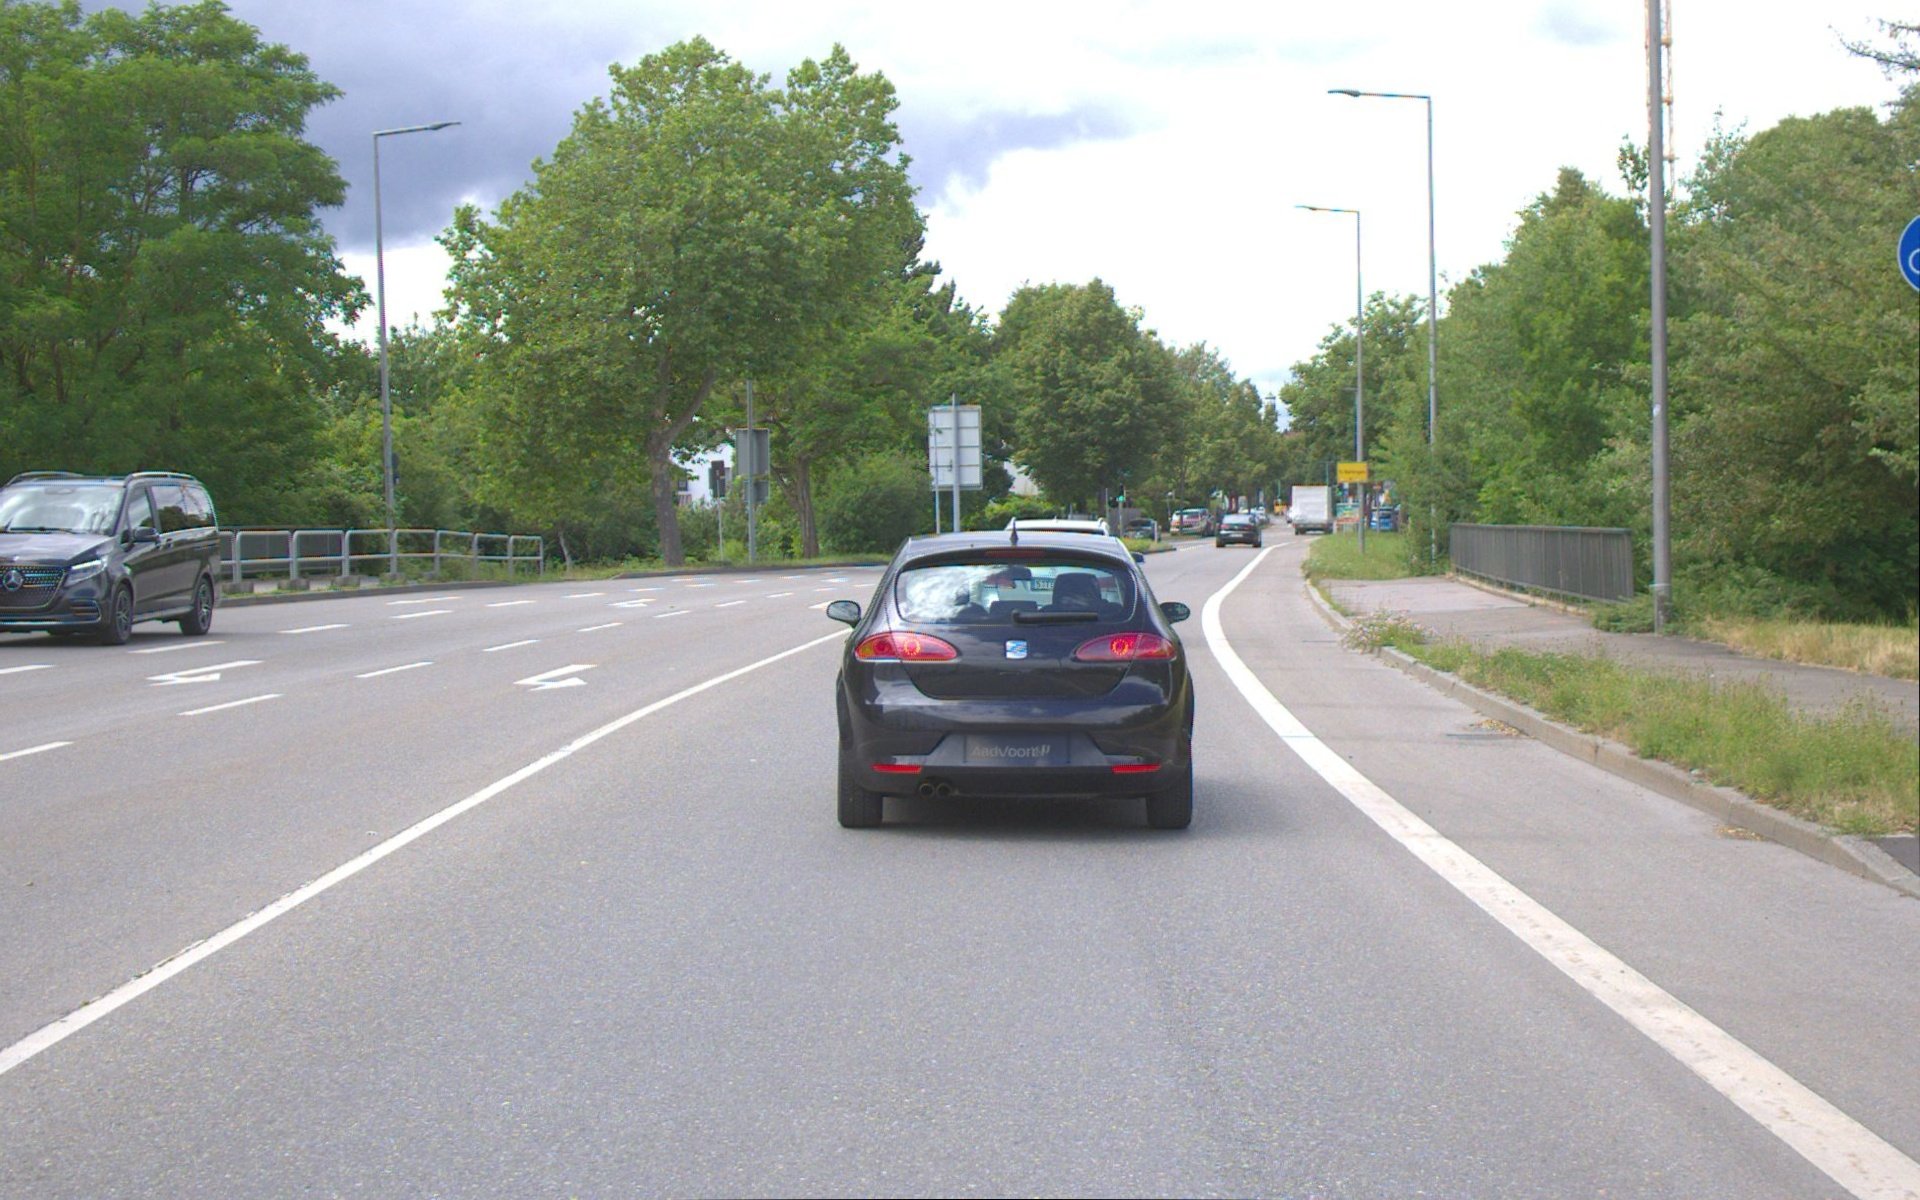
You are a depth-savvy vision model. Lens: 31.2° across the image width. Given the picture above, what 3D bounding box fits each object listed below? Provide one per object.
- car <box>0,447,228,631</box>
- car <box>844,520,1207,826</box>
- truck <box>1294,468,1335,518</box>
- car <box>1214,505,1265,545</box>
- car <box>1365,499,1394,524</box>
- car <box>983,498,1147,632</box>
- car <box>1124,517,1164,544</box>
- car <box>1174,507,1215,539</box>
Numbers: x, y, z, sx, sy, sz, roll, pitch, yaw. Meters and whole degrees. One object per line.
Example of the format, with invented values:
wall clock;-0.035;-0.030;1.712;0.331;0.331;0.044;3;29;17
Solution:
car;-9.957;-0.718;39.086;2.018;1.940;5.365;0;2;1
car;0.297;0.293;17.803;1.663;1.396;3.812;1;1;0
truck;22.440;-6.735;217.516;2.279;3.093;8.508;1;1;7
car;11.989;-3.231;147.336;1.882;1.683;4.212;-1;1;8
car;26.161;-5.508;214.399;1.688;1.485;3.354;-1;1;8
car;1.253;-0.444;40.950;1.846;1.504;3.812;1;1;2
car;10.337;-3.895;192.876;1.718;1.390;4.800;-3;1;8
car;15.142;-4.973;221.758;2.100;1.890;5.782;-3;1;8
